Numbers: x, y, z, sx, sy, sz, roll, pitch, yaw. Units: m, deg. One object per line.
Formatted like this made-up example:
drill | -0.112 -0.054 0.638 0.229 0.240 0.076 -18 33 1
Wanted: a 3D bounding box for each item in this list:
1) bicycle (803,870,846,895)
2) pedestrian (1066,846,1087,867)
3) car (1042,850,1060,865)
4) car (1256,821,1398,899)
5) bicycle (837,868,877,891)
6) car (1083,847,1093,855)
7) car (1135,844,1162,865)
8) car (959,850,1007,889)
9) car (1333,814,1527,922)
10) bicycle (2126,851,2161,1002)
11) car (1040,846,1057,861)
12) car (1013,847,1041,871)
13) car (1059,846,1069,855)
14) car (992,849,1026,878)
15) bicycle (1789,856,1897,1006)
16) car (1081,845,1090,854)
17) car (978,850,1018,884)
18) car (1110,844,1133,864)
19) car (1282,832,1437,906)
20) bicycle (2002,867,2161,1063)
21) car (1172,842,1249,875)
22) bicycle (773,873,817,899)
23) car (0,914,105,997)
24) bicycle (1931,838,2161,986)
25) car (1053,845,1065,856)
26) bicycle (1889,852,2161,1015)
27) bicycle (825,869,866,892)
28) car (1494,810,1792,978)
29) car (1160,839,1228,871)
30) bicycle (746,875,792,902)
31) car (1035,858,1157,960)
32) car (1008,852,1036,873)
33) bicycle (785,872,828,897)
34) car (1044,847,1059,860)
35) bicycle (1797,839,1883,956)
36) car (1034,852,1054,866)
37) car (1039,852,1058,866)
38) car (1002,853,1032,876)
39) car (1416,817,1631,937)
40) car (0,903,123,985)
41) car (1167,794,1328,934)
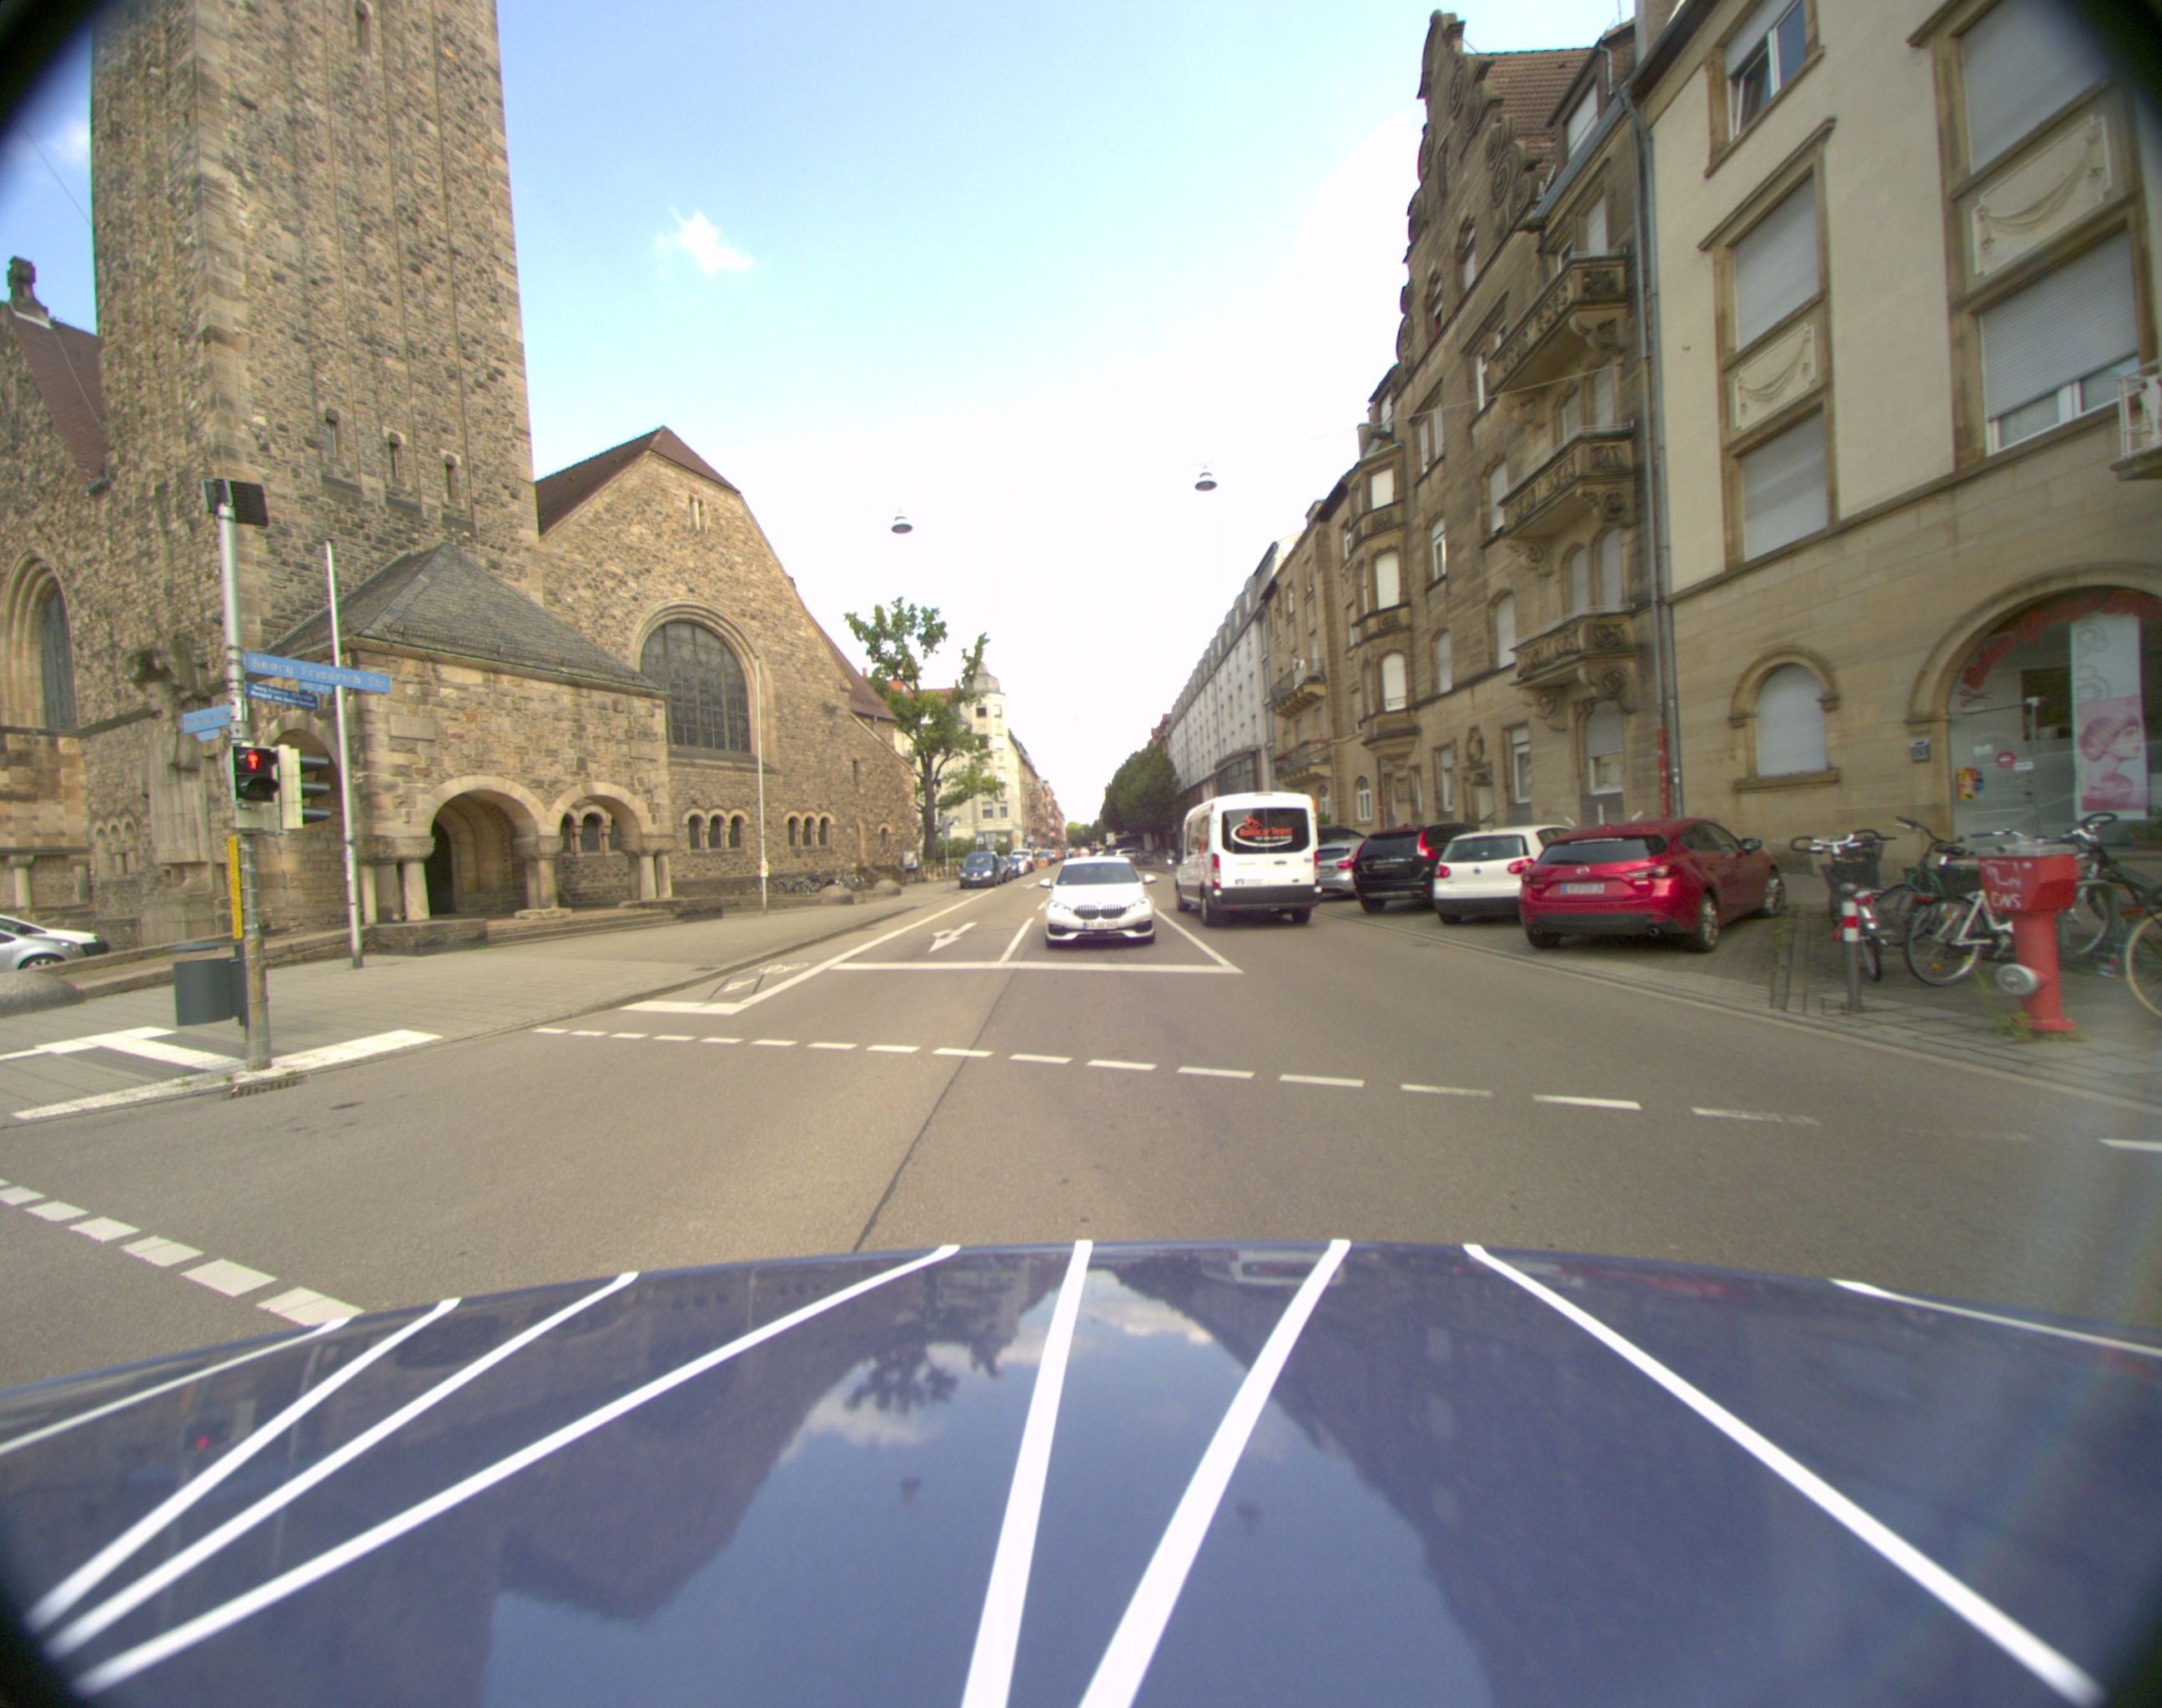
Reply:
bicycle | -12.039 1.346 35.646 1.935 1.106 0.587 0 3 22
pedestrian | -0.396 0.227 69.380 1.316 1.747 1.370 -4 1 -34
car | -3.628 0.401 92.797 1.809 1.675 4.186 -4 0 2
car | 7.245 0.147 22.277 3.959 1.857 1.727 -6 1 -33
bicycle | -11.146 1.252 37.832 1.935 1.106 0.587 0 3 22
car | 1.360 -0.629 150.157 1.809 1.590 4.186 -4 0 2
car | 5.513 -0.011 62.357 1.891 1.556 3.890 -4 0 2
car | -4.945 0.719 38.794 1.683 1.780 4.145 -4 0 2
car | 7.084 0.245 15.254 3.960 1.679 1.799 -7 0 -38
bicycle | 8.330 0.450 5.279 1.483 1.046 0.462 -6 1 -2
car | -4.109 -0.089 97.047 1.809 1.756 4.186 -4 0 2
car | -4.573 0.392 64.668 1.844 1.927 4.186 -4 0 2
car | -3.576 -0.730 164.001 1.809 1.756 4.186 -4 0 2
car | -4.705 0.590 50.054 1.683 1.780 4.000 -4 0 2
bicycle | 6.779 0.623 6.774 1.815 1.046 0.556 -6 1 -45
car | 0.967 -0.931 157.596 1.809 1.590 4.186 -4 0 2
car | -4.786 0.689 44.135 1.683 1.780 4.000 -4 0 2
car | 3.681 -0.045 69.888 1.891 1.641 3.890 -4 0 2
car | 7.162 0.356 19.383 3.960 1.421 1.728 -6 0 -37
bicycle | 6.749 0.633 4.684 1.483 1.046 0.462 -6 1 1
car | 6.847 0.214 39.960 3.961 1.465 1.727 -4 1 -39
bicycle | -12.847 1.422 34.128 1.935 1.106 0.587 0 3 22
car | -24.089 2.301 16.187 1.815 1.668 3.643 -5 -1 22
bicycle | 8.359 0.464 6.435 1.631 1.046 0.558 -6 1 0
car | -3.990 -0.671 139.920 1.809 1.901 4.186 -4 0 2
bicycle | 7.173 0.580 5.802 1.483 1.046 0.462 -6 1 -2
bicycle | -11.492 1.286 37.105 1.935 1.106 0.587 0 3 22
car | 7.070 0.380 9.427 4.005 1.448 1.808 -6 0 -37
car | 6.971 0.042 46.761 3.960 1.576 1.727 -6 -1 -39
bicycle | -13.421 1.483 32.658 1.935 1.106 0.587 0 3 22
car | 0.297 0.861 13.811 1.826 1.439 4.386 -2 0 2
car | -4.638 0.635 60.324 1.683 1.488 3.890 -4 0 2
bicycle | -12.563 1.393 34.787 1.935 1.106 0.587 0 3 22
car | -4.247 -0.137 110.477 1.809 1.756 4.186 -4 0 2
bicycle | 8.339 0.431 8.333 1.908 1.046 0.556 -6 1 -44
car | -4.028 0.487 82.994 1.809 1.360 4.186 -4 0 2
car | -3.792 0.554 88.384 1.809 1.360 4.186 -4 0 2
car | -4.583 0.730 54.954 1.683 1.438 3.798 -4 0 2
car | 7.397 0.332 12.559 3.960 1.448 1.727 -7 0 -40
car | -26.914 2.298 18.317 1.996 1.842 4.312 -5 -1 25
car | 3.293 0.211 16.481 2.081 2.430 5.945 -2 -1 0
